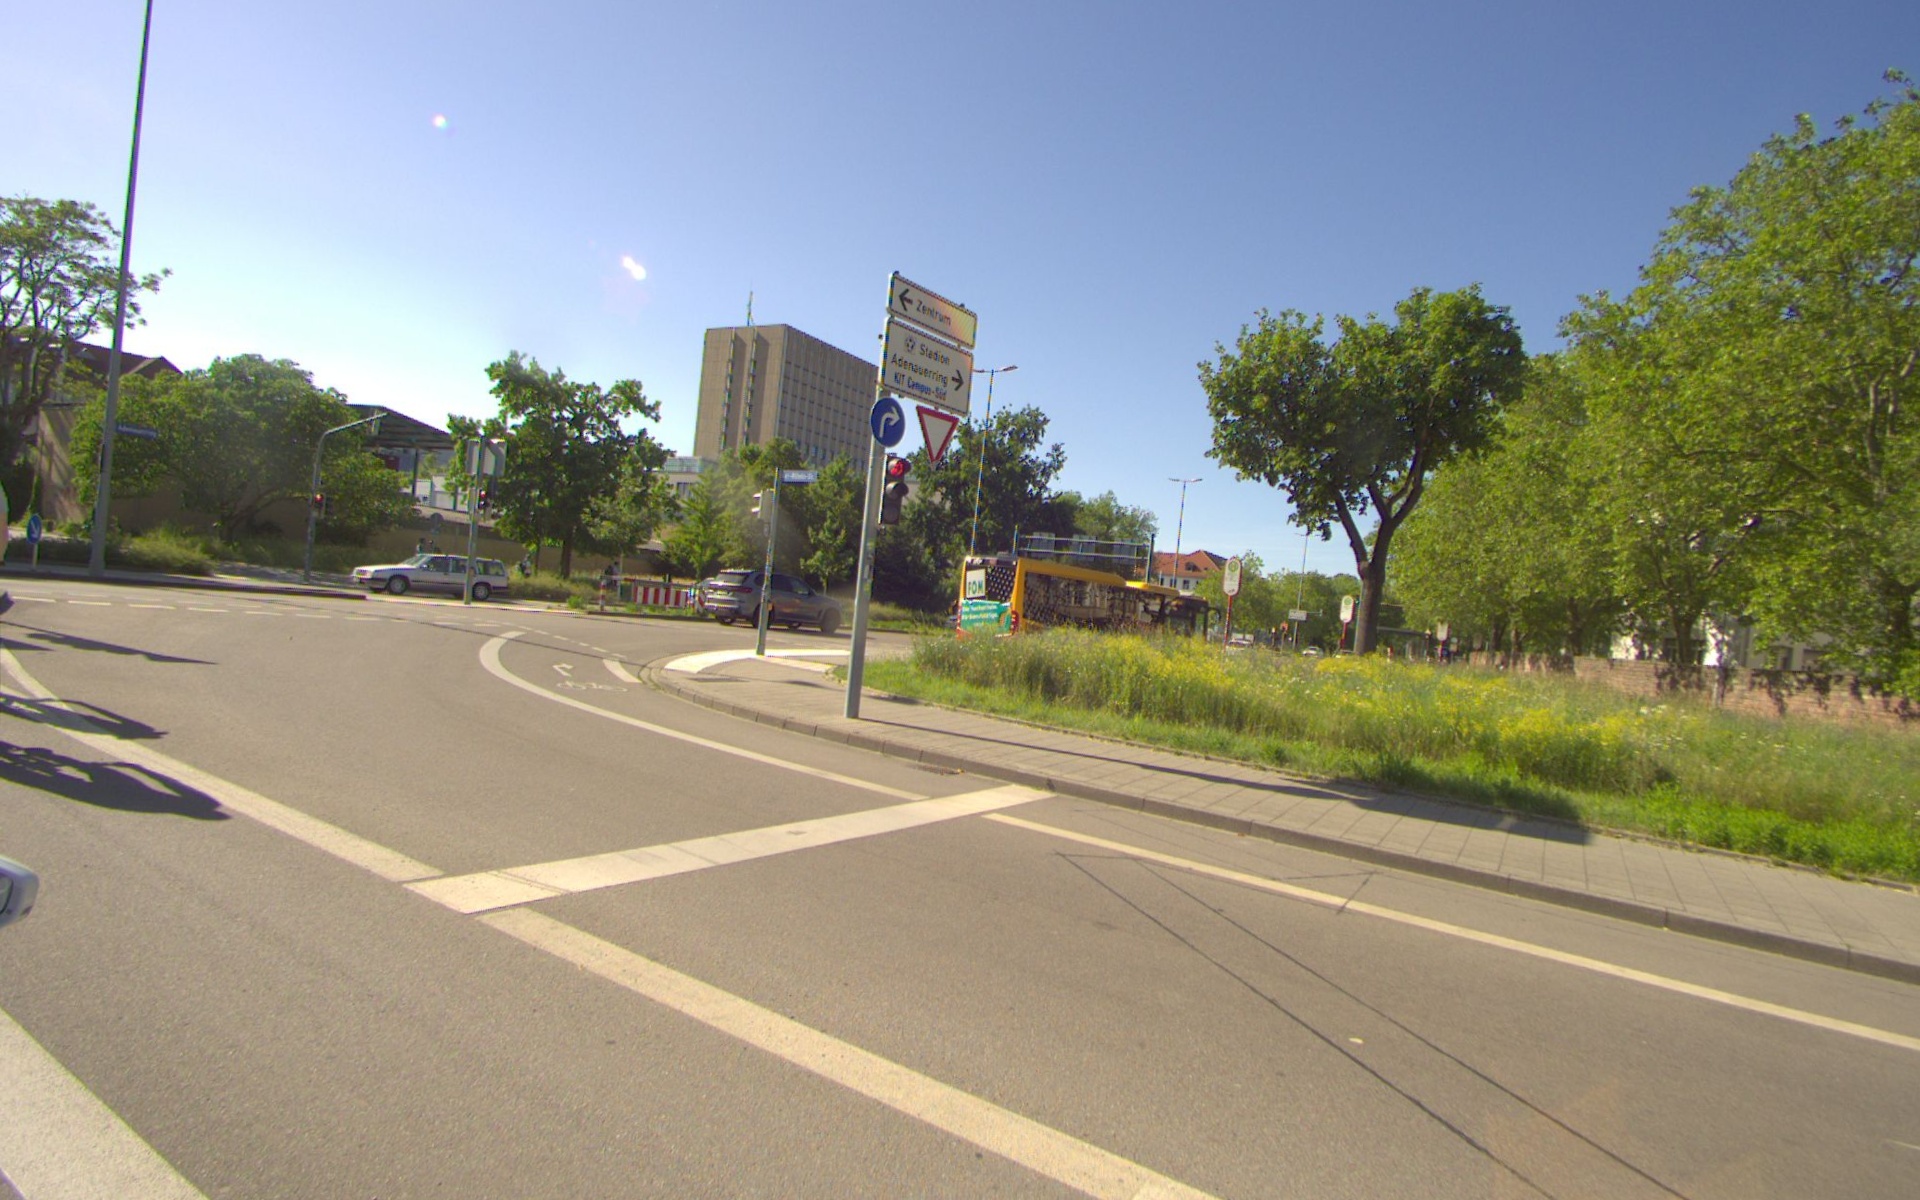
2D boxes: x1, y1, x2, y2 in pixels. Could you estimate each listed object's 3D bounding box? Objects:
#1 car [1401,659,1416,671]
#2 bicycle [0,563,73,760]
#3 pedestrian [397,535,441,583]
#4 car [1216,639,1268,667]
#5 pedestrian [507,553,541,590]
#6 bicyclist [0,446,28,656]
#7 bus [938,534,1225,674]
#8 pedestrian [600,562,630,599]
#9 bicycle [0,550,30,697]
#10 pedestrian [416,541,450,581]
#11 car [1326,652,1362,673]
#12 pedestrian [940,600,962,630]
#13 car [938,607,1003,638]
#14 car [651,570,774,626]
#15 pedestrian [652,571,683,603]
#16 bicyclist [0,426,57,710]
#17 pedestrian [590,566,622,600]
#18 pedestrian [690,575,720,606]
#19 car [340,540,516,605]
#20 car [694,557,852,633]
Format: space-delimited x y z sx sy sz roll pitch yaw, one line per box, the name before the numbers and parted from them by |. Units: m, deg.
car | 66.308 9.553 148.687 1.712 1.535 3.995 7 0 27
bicycle | -6.288 0.292 6.119 1.871 1.064 0.748 6 1 31
pedestrian | -23.253 -1.771 43.274 0.953 1.879 1.294 7 1 43
car | 17.106 3.208 60.908 1.731 1.390 3.989 7 0 34
pedestrian | -20.290 -1.319 46.818 0.917 1.540 1.083 7 1 41
bicyclist | -7.838 -0.426 7.659 1.063 1.601 0.675 7 -1 31
bus | 4.790 0.379 35.528 3.205 3.614 12.400 7 0 42
pedestrian | -17.624 -0.990 51.451 0.912 1.754 0.962 7 1 39
bicycle | -7.957 0.075 7.685 1.813 1.063 0.672 6 -1 31
pedestrian | -23.302 -1.720 44.488 0.979 1.625 0.816 6 1 -45
car | 31.379 5.129 82.138 1.862 1.419 3.849 3 -3 33
pedestrian | -0.655 1.107 75.161 0.966 2.106 1.186 7 1 35
car | 0.722 1.516 66.605 1.969 1.625 4.504 7 0 36
car | -9.231 -0.047 37.807 1.882 1.625 4.124 7 0 37
pedestrian | -15.798 -0.701 54.363 0.927 1.540 1.145 7 1 38
bicyclist | -6.177 -0.232 6.075 0.851 1.695 0.741 7 1 30
pedestrian | -17.539 -0.822 49.890 0.865 1.540 1.074 7 1 36
pedestrian | -14.136 -0.523 55.835 0.975 1.540 1.129 7 1 35
car | -18.020 -0.902 34.296 1.909 1.613 4.860 7 0 38
car | -5.834 -0.095 31.921 1.975 1.884 4.725 7 0 37
